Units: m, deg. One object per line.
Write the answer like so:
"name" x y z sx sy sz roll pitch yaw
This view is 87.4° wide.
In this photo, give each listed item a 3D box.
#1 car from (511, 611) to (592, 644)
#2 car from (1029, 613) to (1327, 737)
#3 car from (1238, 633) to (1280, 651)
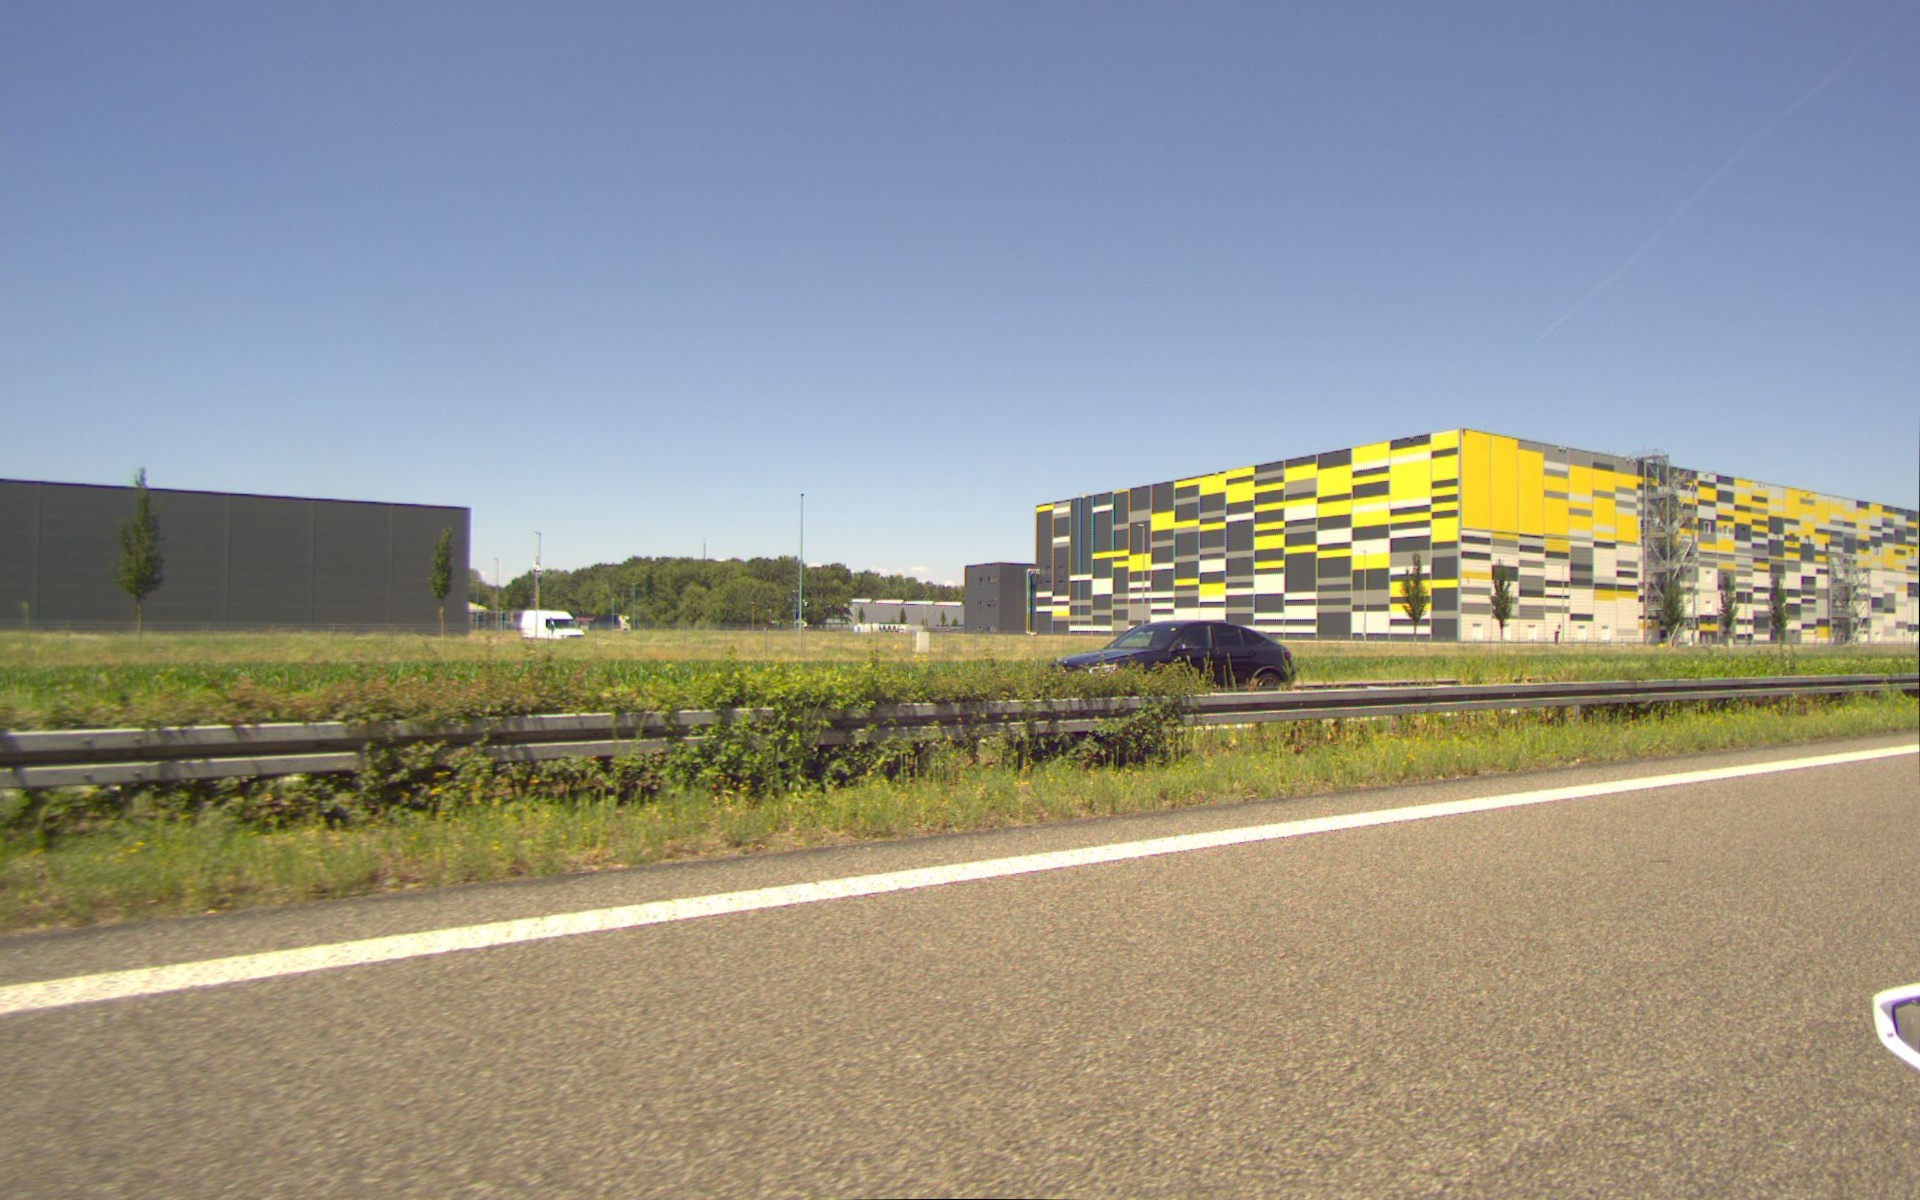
"car" -28.223 1.909 69.375 5.506 2.206 2.106 -1 -2 28
"car" 3.696 1.175 16.795 4.785 1.802 2.018 2 -2 -30
"car" 29.127 4.109 97.696 4.067 1.750 1.675 2 -2 -32
